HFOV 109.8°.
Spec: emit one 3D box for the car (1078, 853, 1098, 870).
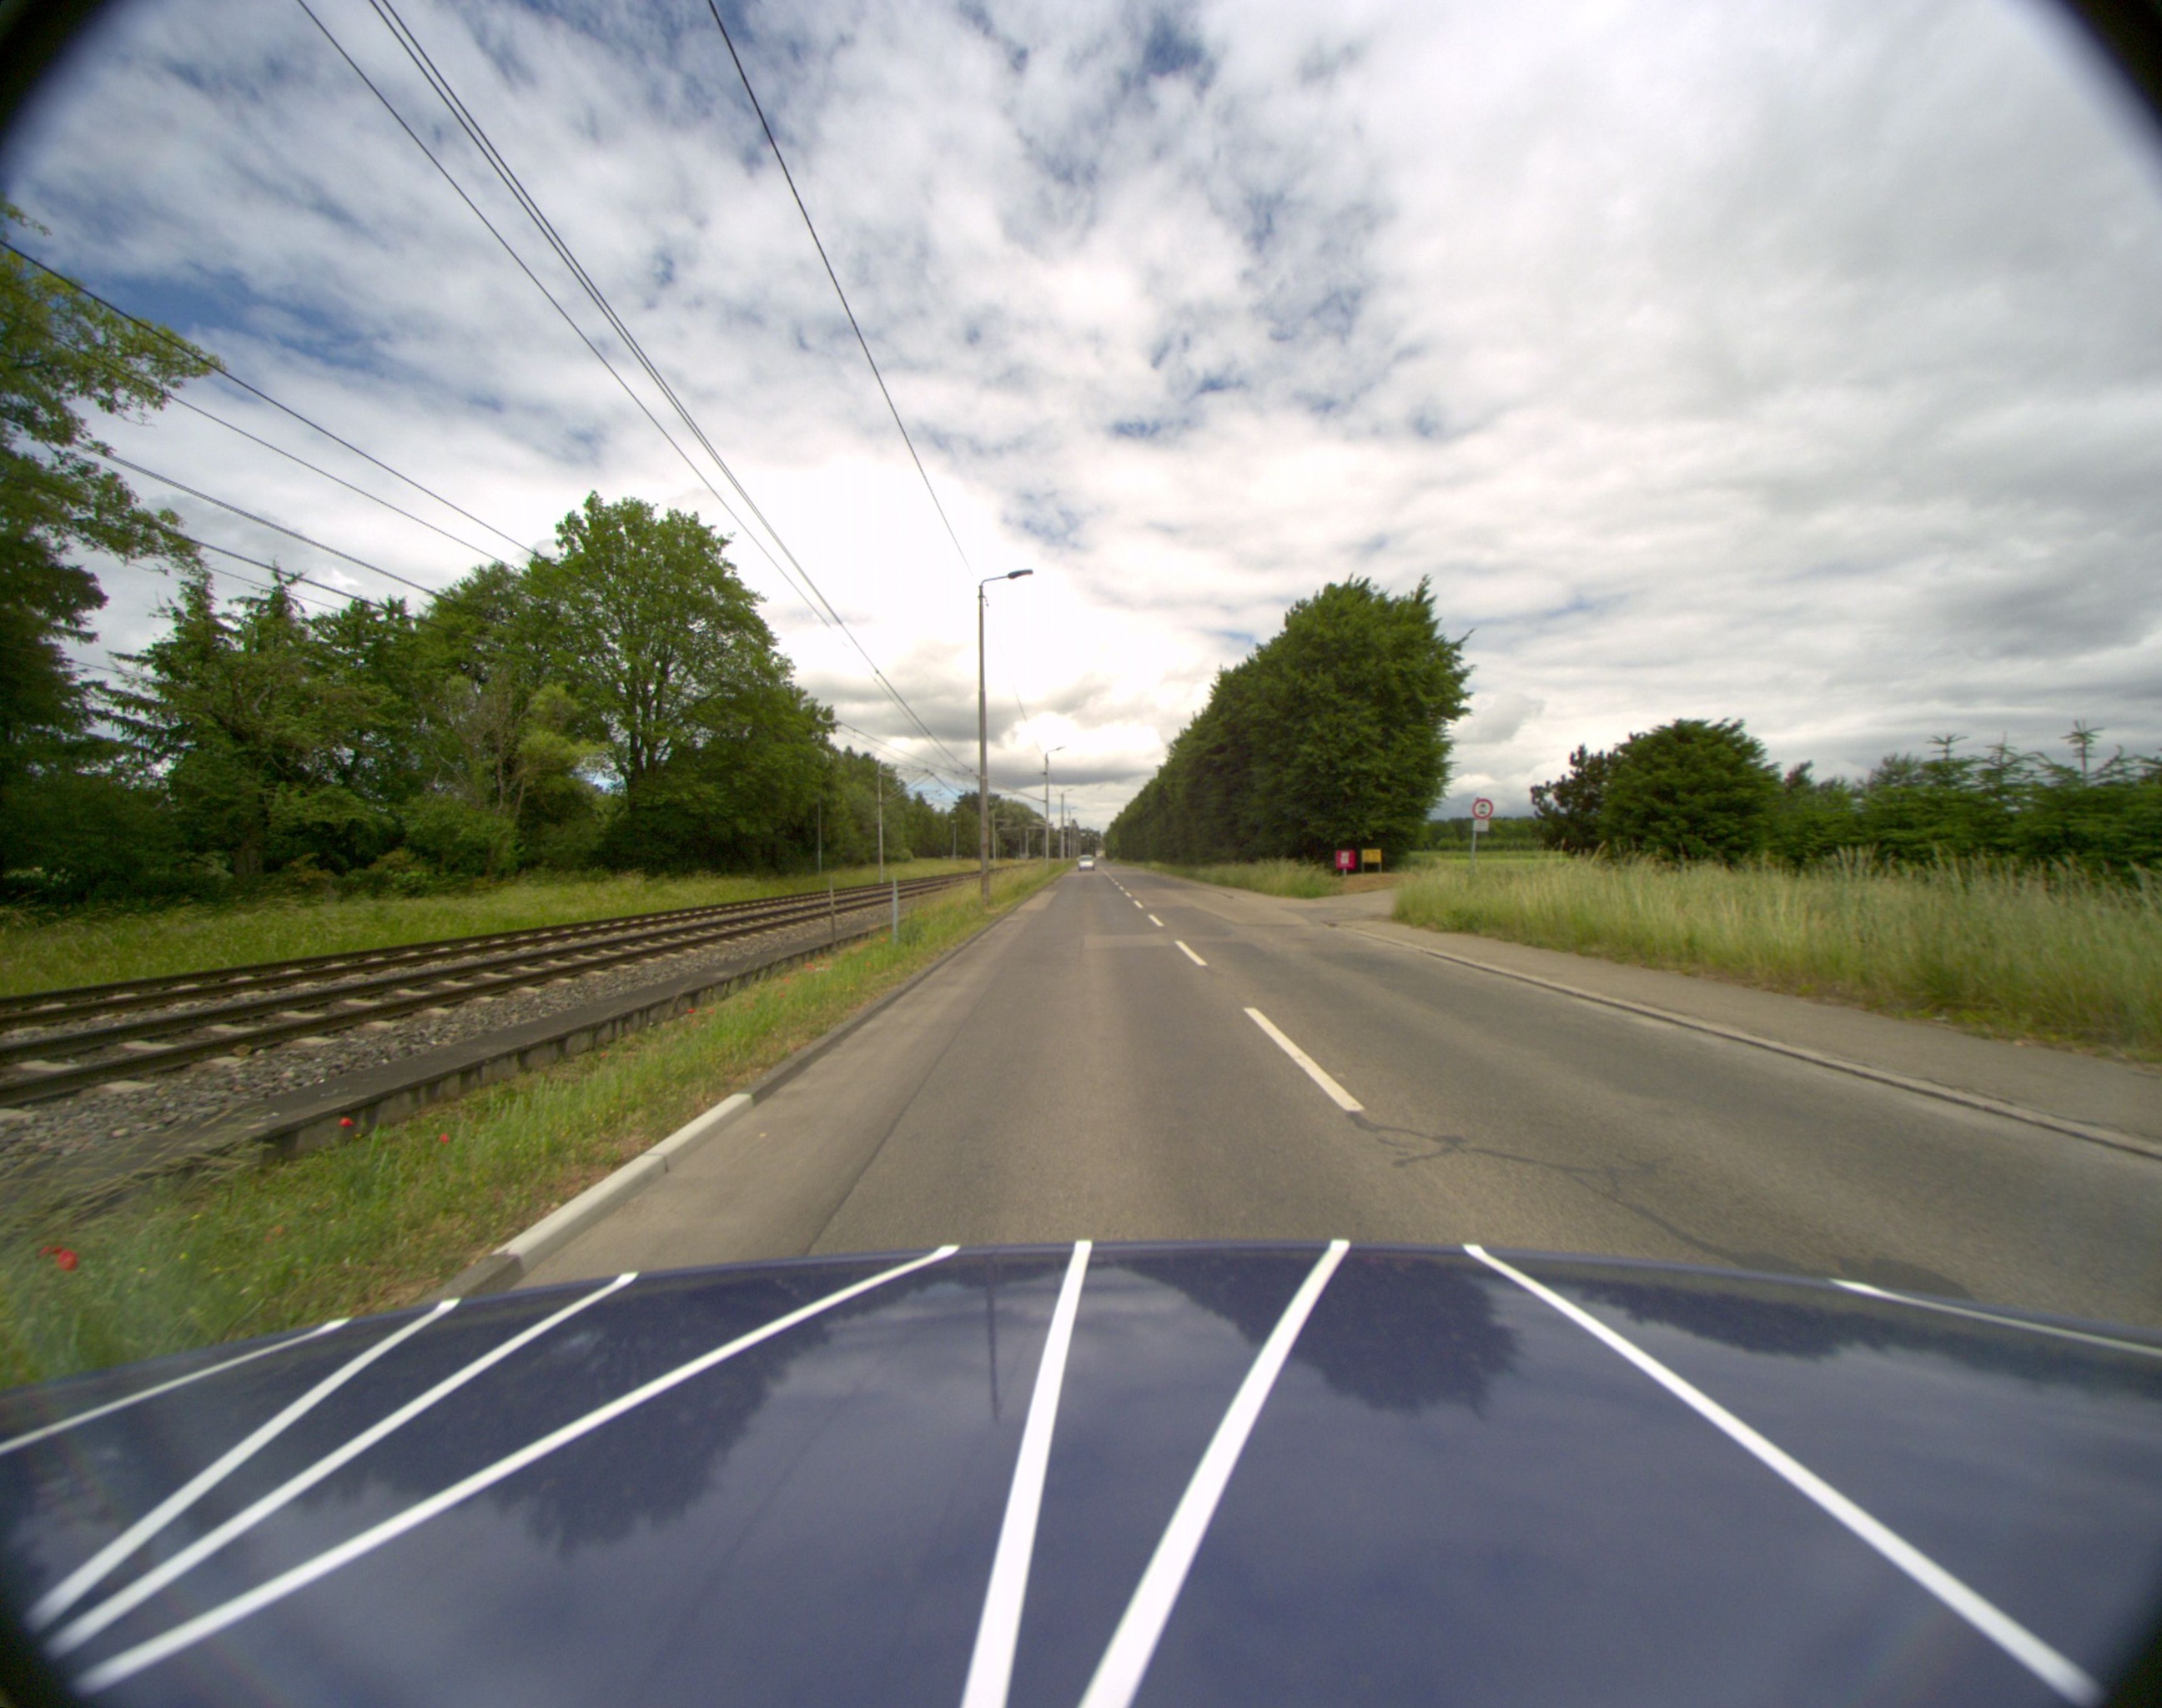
[{"bbox_3d":[0.678,0.772,80.907,1.999,1.679,4.000,2,0,0],"label":"car"}]
